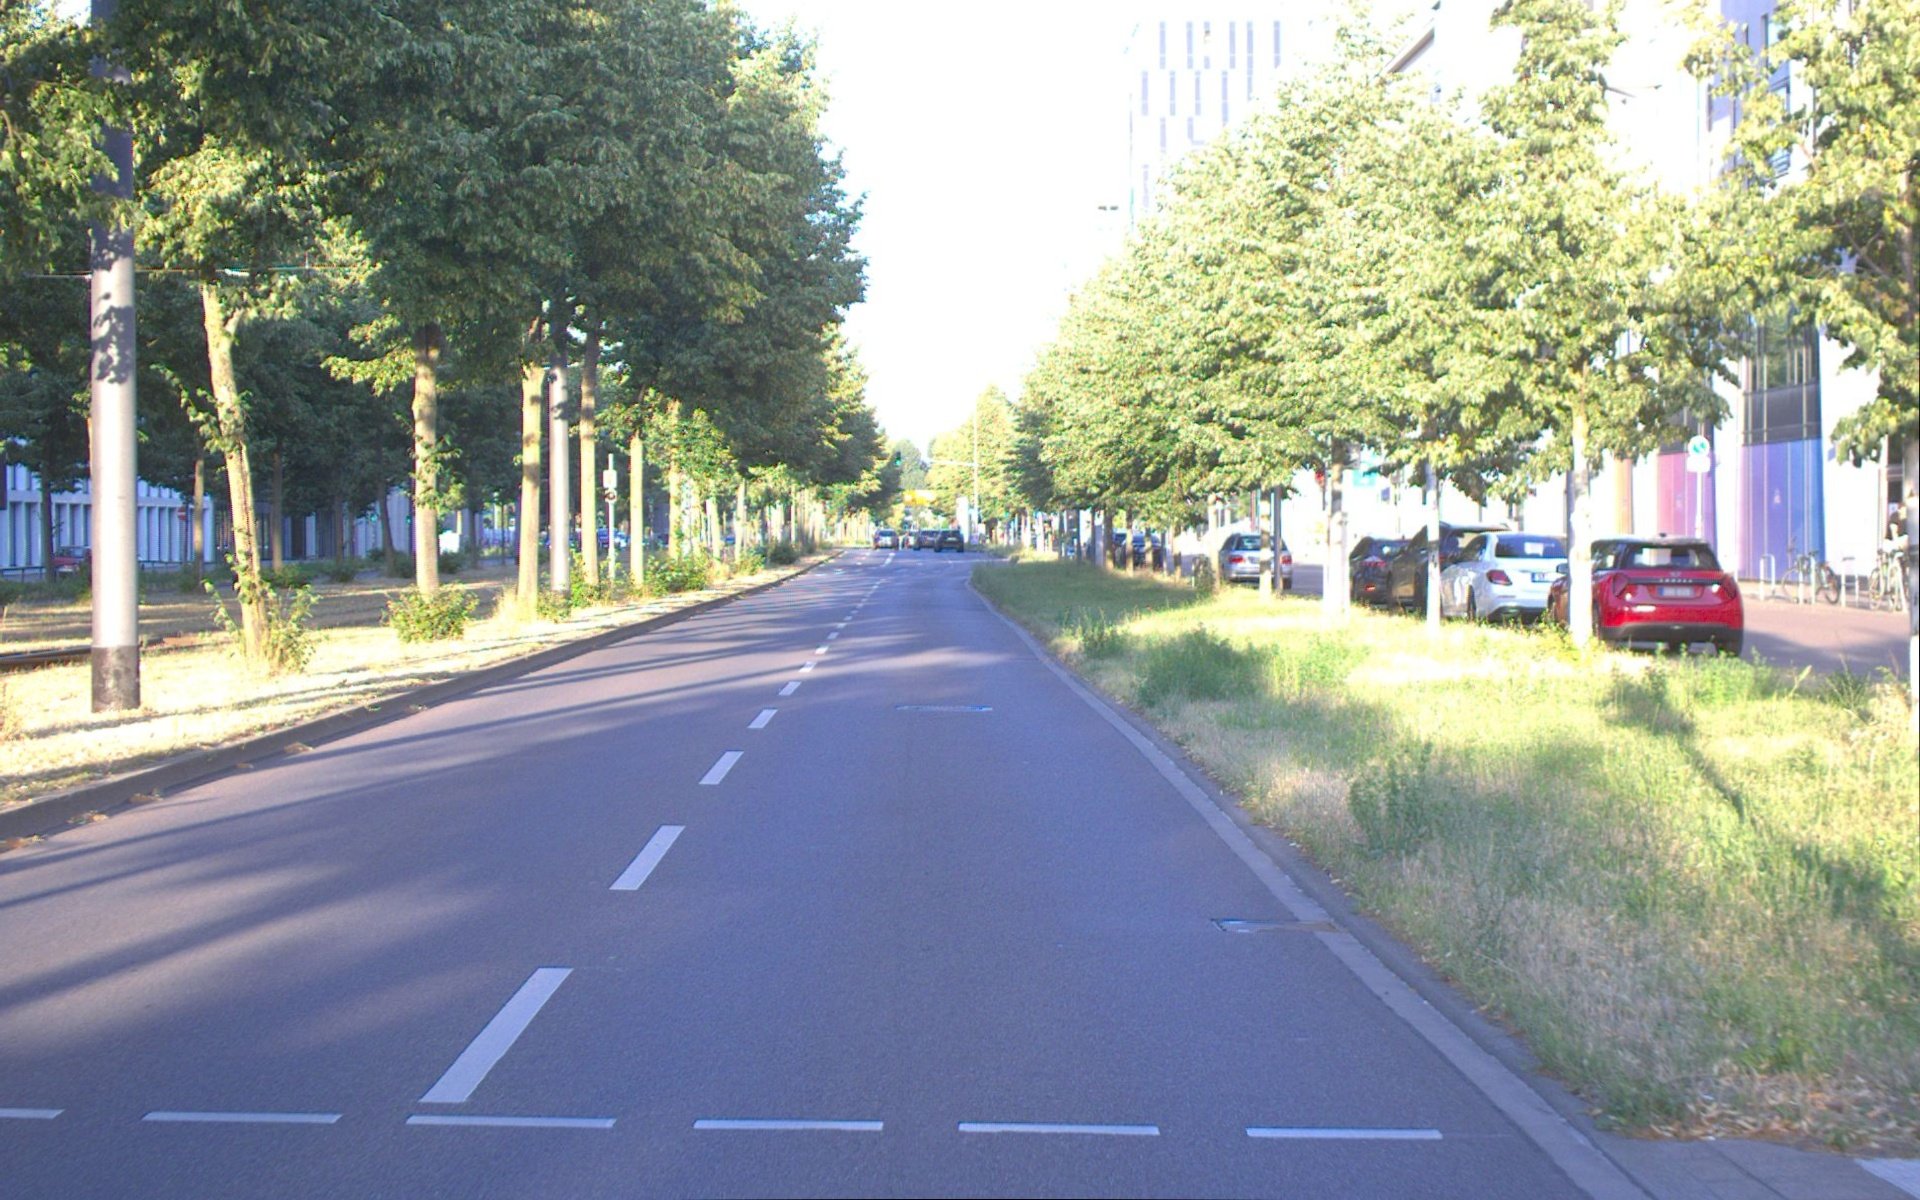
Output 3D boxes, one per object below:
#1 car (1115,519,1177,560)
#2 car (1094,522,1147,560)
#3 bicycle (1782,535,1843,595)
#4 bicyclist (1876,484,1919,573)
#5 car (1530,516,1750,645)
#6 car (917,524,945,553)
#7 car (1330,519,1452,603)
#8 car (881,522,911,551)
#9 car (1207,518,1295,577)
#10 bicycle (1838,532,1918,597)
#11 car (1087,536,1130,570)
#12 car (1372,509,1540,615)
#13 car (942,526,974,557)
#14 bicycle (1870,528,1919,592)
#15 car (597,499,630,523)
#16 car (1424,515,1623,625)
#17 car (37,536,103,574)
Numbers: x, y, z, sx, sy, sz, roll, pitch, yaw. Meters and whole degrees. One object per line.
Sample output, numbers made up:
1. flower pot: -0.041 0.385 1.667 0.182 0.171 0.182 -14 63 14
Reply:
1. car: 7.251 -2.363 134.631 1.943 1.543 4.812 0 1 -3
2. car: 6.594 -2.439 141.687 1.854 1.524 4.483 1 1 -1
3. bicycle: 15.192 -0.624 61.307 0.533 1.056 1.613 0 1 -6
4. bicyclist: 16.679 -1.275 61.148 0.544 1.563 1.020 0 1 3
5. car: 8.244 -0.277 41.976 1.808 1.495 3.960 0 1 -1
6. car: -2.035 -4.322 242.208 1.993 2.007 4.000 0 1 0
7. car: 8.048 -0.752 64.506 1.724 1.495 4.233 1 1 0
8. car: -4.430 -4.392 237.149 2.087 2.007 4.001 0 1 -1
9. car: 7.648 -1.410 90.681 1.808 1.495 4.826 0 1 -1
10. bicycle: 14.882 -0.590 55.769 0.620 1.029 2.261 -1 1 -2
11. car: 6.929 -2.204 160.666 1.724 1.524 4.269 1 1 -1
12. car: 8.182 -0.658 57.125 1.953 1.618 4.821 2 1 -1
13. car: -0.118 -3.826 225.295 1.993 2.007 4.001 0 1 -1
14. bicycle: 16.677 -0.719 61.169 0.543 1.114 1.913 0 1 3
15. car: -23.933 -6.146 237.546 1.885 1.572 4.183 0 1 -1
16. car: 8.049 -0.474 49.536 1.920 1.495 5.010 0 1 -1
17. car: -37.591 -1.918 145.326 1.860 1.576 3.492 0 1 0
